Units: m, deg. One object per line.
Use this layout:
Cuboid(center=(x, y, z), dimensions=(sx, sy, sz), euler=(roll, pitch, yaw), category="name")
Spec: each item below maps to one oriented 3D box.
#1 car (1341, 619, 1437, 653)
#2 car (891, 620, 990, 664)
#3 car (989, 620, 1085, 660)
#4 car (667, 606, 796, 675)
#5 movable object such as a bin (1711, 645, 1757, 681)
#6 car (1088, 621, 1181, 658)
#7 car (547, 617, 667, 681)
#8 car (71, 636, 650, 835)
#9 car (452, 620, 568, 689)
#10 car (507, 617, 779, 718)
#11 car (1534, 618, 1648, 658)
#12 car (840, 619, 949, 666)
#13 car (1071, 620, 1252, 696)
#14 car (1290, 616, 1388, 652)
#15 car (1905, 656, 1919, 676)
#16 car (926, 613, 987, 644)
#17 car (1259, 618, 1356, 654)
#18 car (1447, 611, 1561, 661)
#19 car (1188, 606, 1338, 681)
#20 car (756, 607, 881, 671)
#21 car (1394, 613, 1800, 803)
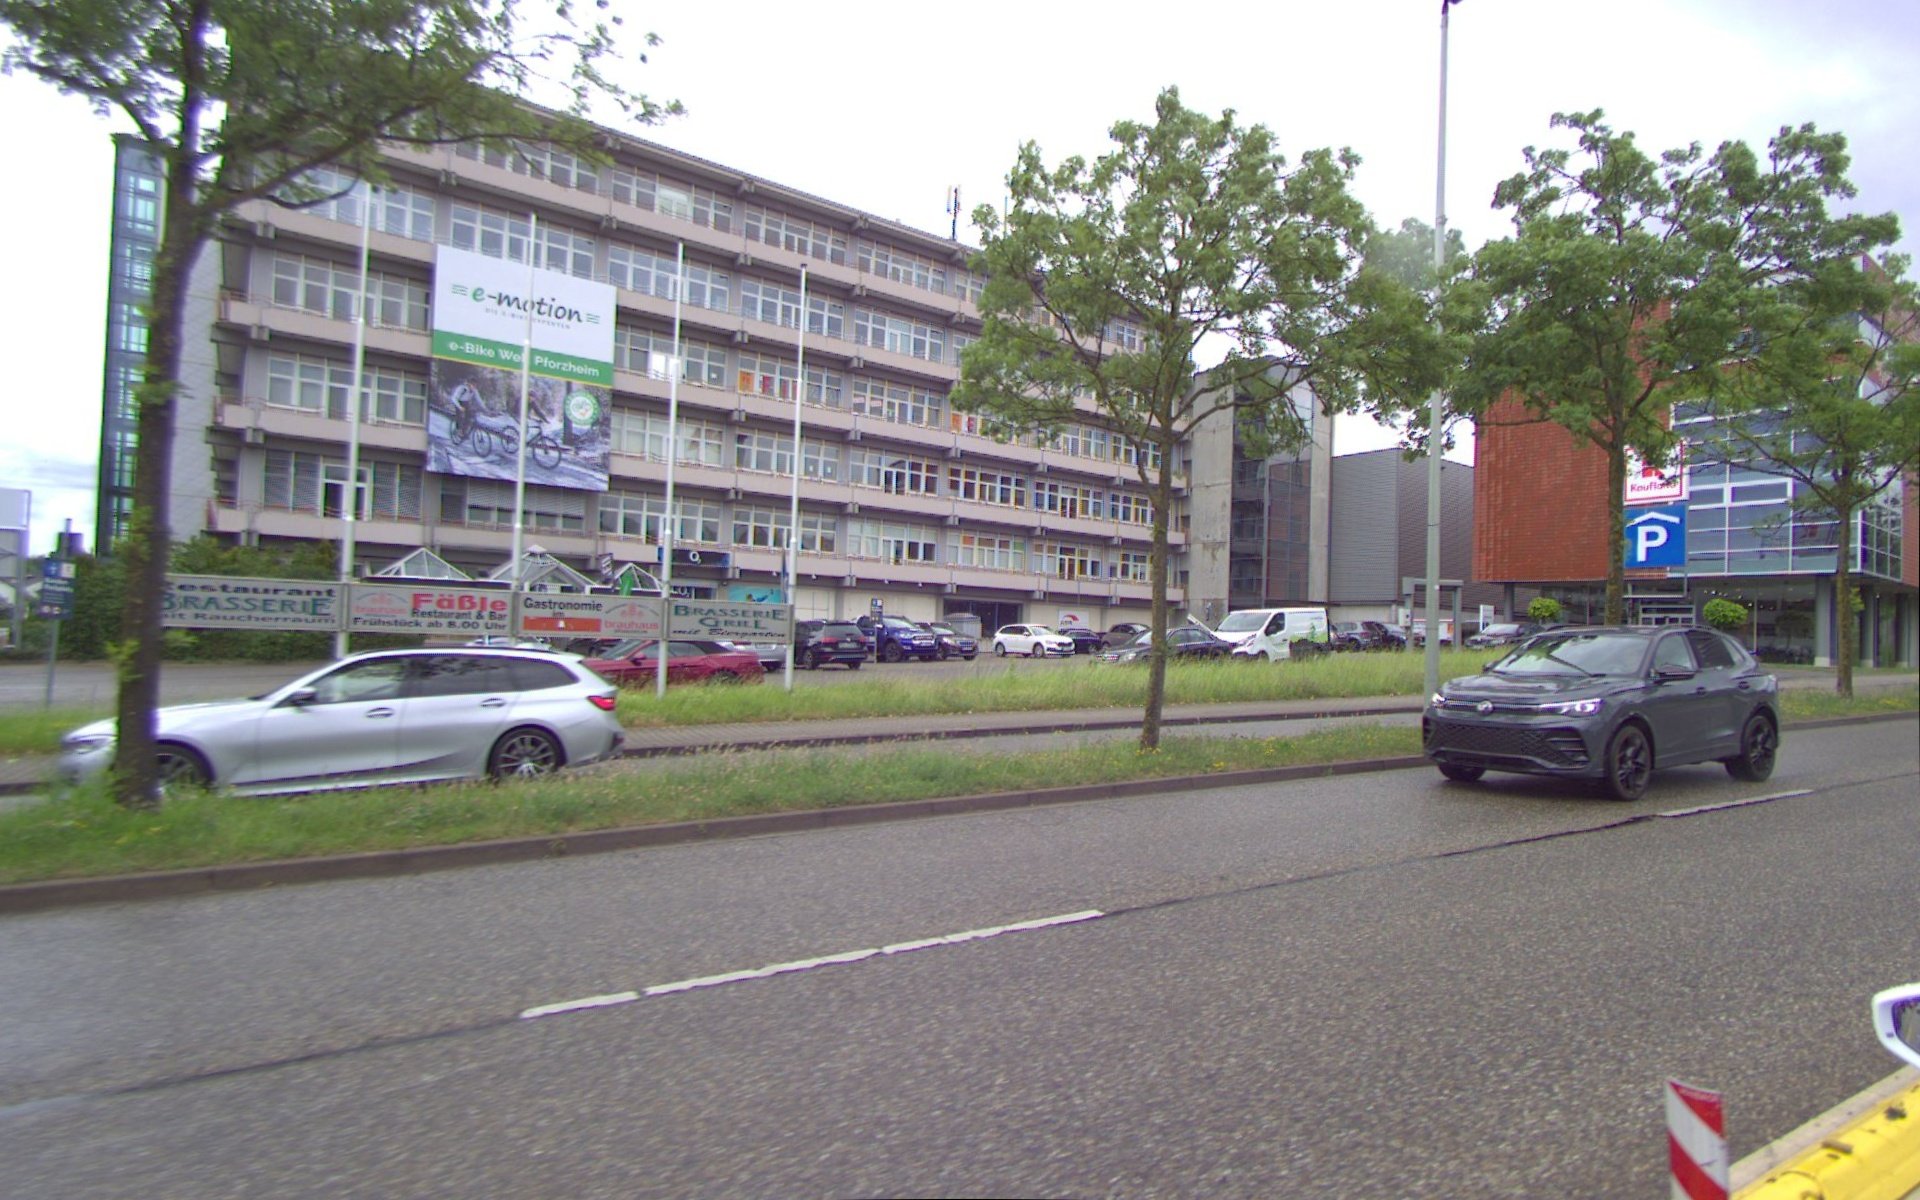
Cuboid(center=(21.920, 1.794, 51.431), dimensions=(1.884, 1.530, 4.158), euler=(0, 1, -38), category="car")
Cuboid(center=(-0.847, 1.646, 40.710), dimensions=(1.929, 1.530, 4.145), euler=(0, 1, -38), category="car")
Cuboid(center=(3.328, 1.722, 43.998), dimensions=(1.831, 1.530, 4.242), euler=(0, 1, -38), category="car")
Cuboid(center=(-6.759, 1.097, 29.348), dimensions=(1.949, 1.769, 4.563), euler=(0, 1, -38), category="car")
Cuboid(center=(25.058, 2.018, 32.532), dimensions=(1.073, 1.093, 0.815), euler=(1, 1, -30), category="movable object such as a bin")
Cuboid(center=(8.228, 1.823, 47.654), dimensions=(1.831, 1.530, 4.242), euler=(0, 1, -38), category="car")
Cuboid(center=(-11.430, 1.512, 32.357), dimensions=(2.117, 1.769, 4.558), euler=(0, 1, -41), category="car")
Cuboid(center=(-5.595, 1.165, 9.979), dimensions=(4.523, 1.573, 1.858), euler=(1, -3, -31), category="car")
Cuboid(center=(-13.657, 1.573, 30.325), dimensions=(1.952, 1.769, 4.558), euler=(0, 1, -41), category="car")
Cuboid(center=(-6.018, 1.193, 19.325), dimensions=(4.665, 1.630, 1.919), euler=(0, 1, -36), category="car")
Cuboid(center=(28.962, 1.745, 46.194), dimensions=(4.221, 1.704, 1.791), euler=(0, -3, 42), category="car")
Cuboid(center=(-2.601, 1.586, 38.834), dimensions=(2.007, 1.530, 4.574), euler=(0, 1, -38), category="car")
Cuboid(center=(5.543, 1.490, 27.425), dimensions=(4.894, 1.786, 2.027), euler=(0, 1, -34), category="car")
Cuboid(center=(18.410, 1.622, 48.885), dimensions=(1.803, 1.530, 4.158), euler=(0, 1, -38), category="car")
Cuboid(center=(66.272, 4.548, 67.625), dimensions=(1.501, 1.301, 3.523), euler=(2, 0, -27), category="car")
Cuboid(center=(-0.248, 1.719, 61.500), dimensions=(1.783, 1.755, 3.958), euler=(0, 1, -37), category="car")
Cuboid(center=(16.429, 1.678, 47.631), dimensions=(1.803, 1.530, 4.077), euler=(0, 1, -38), category="car")
Cuboid(center=(21.835, 1.392, 40.283), dimensions=(4.558, 1.797, 2.125), euler=(0, 1, -33), category="car")
Cuboid(center=(9.603, 1.276, 31.614), dimensions=(5.079, 2.124, 2.096), euler=(0, 1, -40), category="car")
Cuboid(center=(-4.451, 1.130, 31.015), dimensions=(1.883, 1.769, 4.464), euler=(0, 1, -38), category="car")
Cuboid(center=(6.775, 1.033, 10.588), dimensions=(4.384, 1.635, 1.779), euler=(2, -3, -30), category="car")
